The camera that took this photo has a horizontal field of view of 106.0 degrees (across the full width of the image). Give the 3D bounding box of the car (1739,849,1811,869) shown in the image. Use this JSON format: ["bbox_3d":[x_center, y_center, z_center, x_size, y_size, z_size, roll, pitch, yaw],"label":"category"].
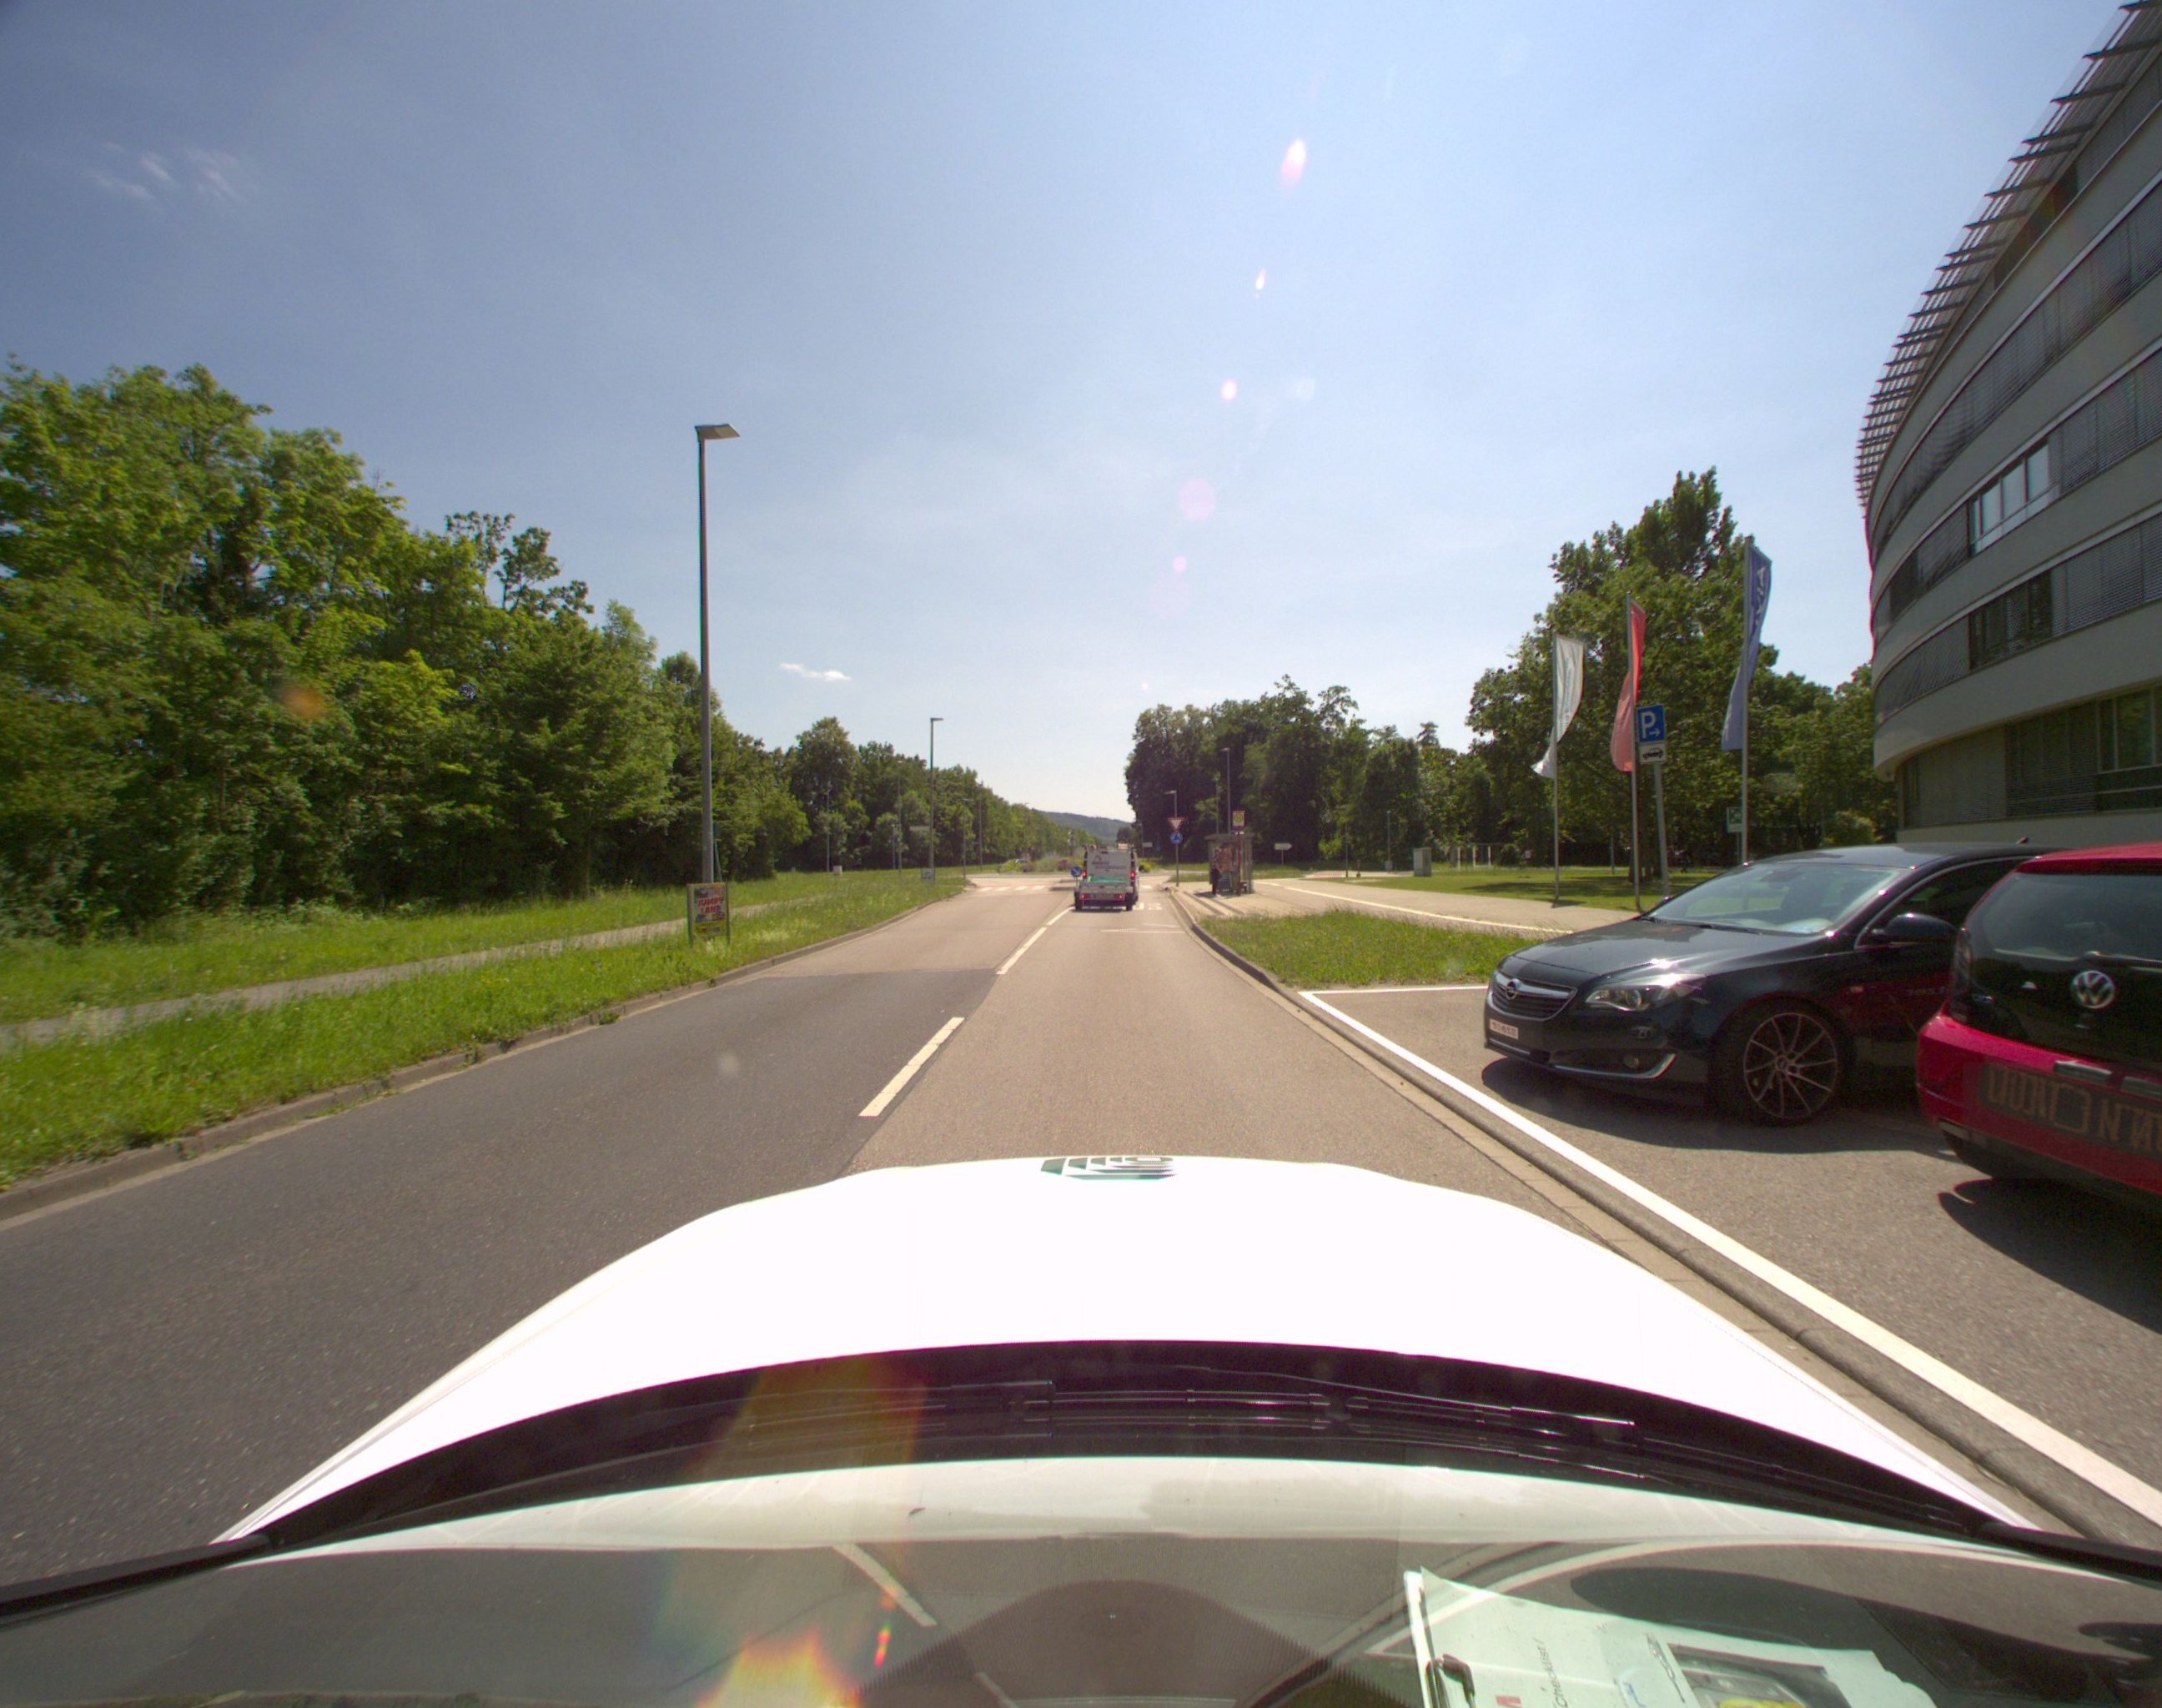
[{"bbox_3d":[54.401,0.346,63.882,3.965,1.485,1.707,0,2,7],"label":"car"}]

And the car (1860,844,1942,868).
[{"bbox_3d":[54.149,0.153,53.886,1.855,1.483,3.688,0,-1,4],"label":"car"}]

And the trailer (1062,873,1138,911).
[{"bbox_3d":[0.678,1.178,26.172,2.110,1.097,3.361,0,-1,7],"label":"trailer"}]

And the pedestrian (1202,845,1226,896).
[{"bbox_3d":[4.937,0.620,30.286,0.705,1.822,0.827,-3,-1,3],"label":"pedestrian"}]

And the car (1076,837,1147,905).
[{"bbox_3d":[1.235,0.619,30.362,2.154,2.316,4.991,0,-1,7],"label":"car"}]

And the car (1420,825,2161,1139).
[{"bbox_3d":[4.775,0.633,5.048,4.551,1.432,1.828,-3,-1,1],"label":"car"}]

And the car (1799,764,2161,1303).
[{"bbox_3d":[5.323,0.514,2.797,3.969,1.655,1.841,-1,-1,4],"label":"car"}]

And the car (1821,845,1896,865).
[{"bbox_3d":[60.489,0.085,63.415,3.757,1.416,1.889,-1,0,10],"label":"car"}]

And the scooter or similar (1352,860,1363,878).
[{"bbox_3d":[19.150,1.038,56.410,0.442,1.201,1.407,0,-1,30],"label":"scooter or similar"}]
